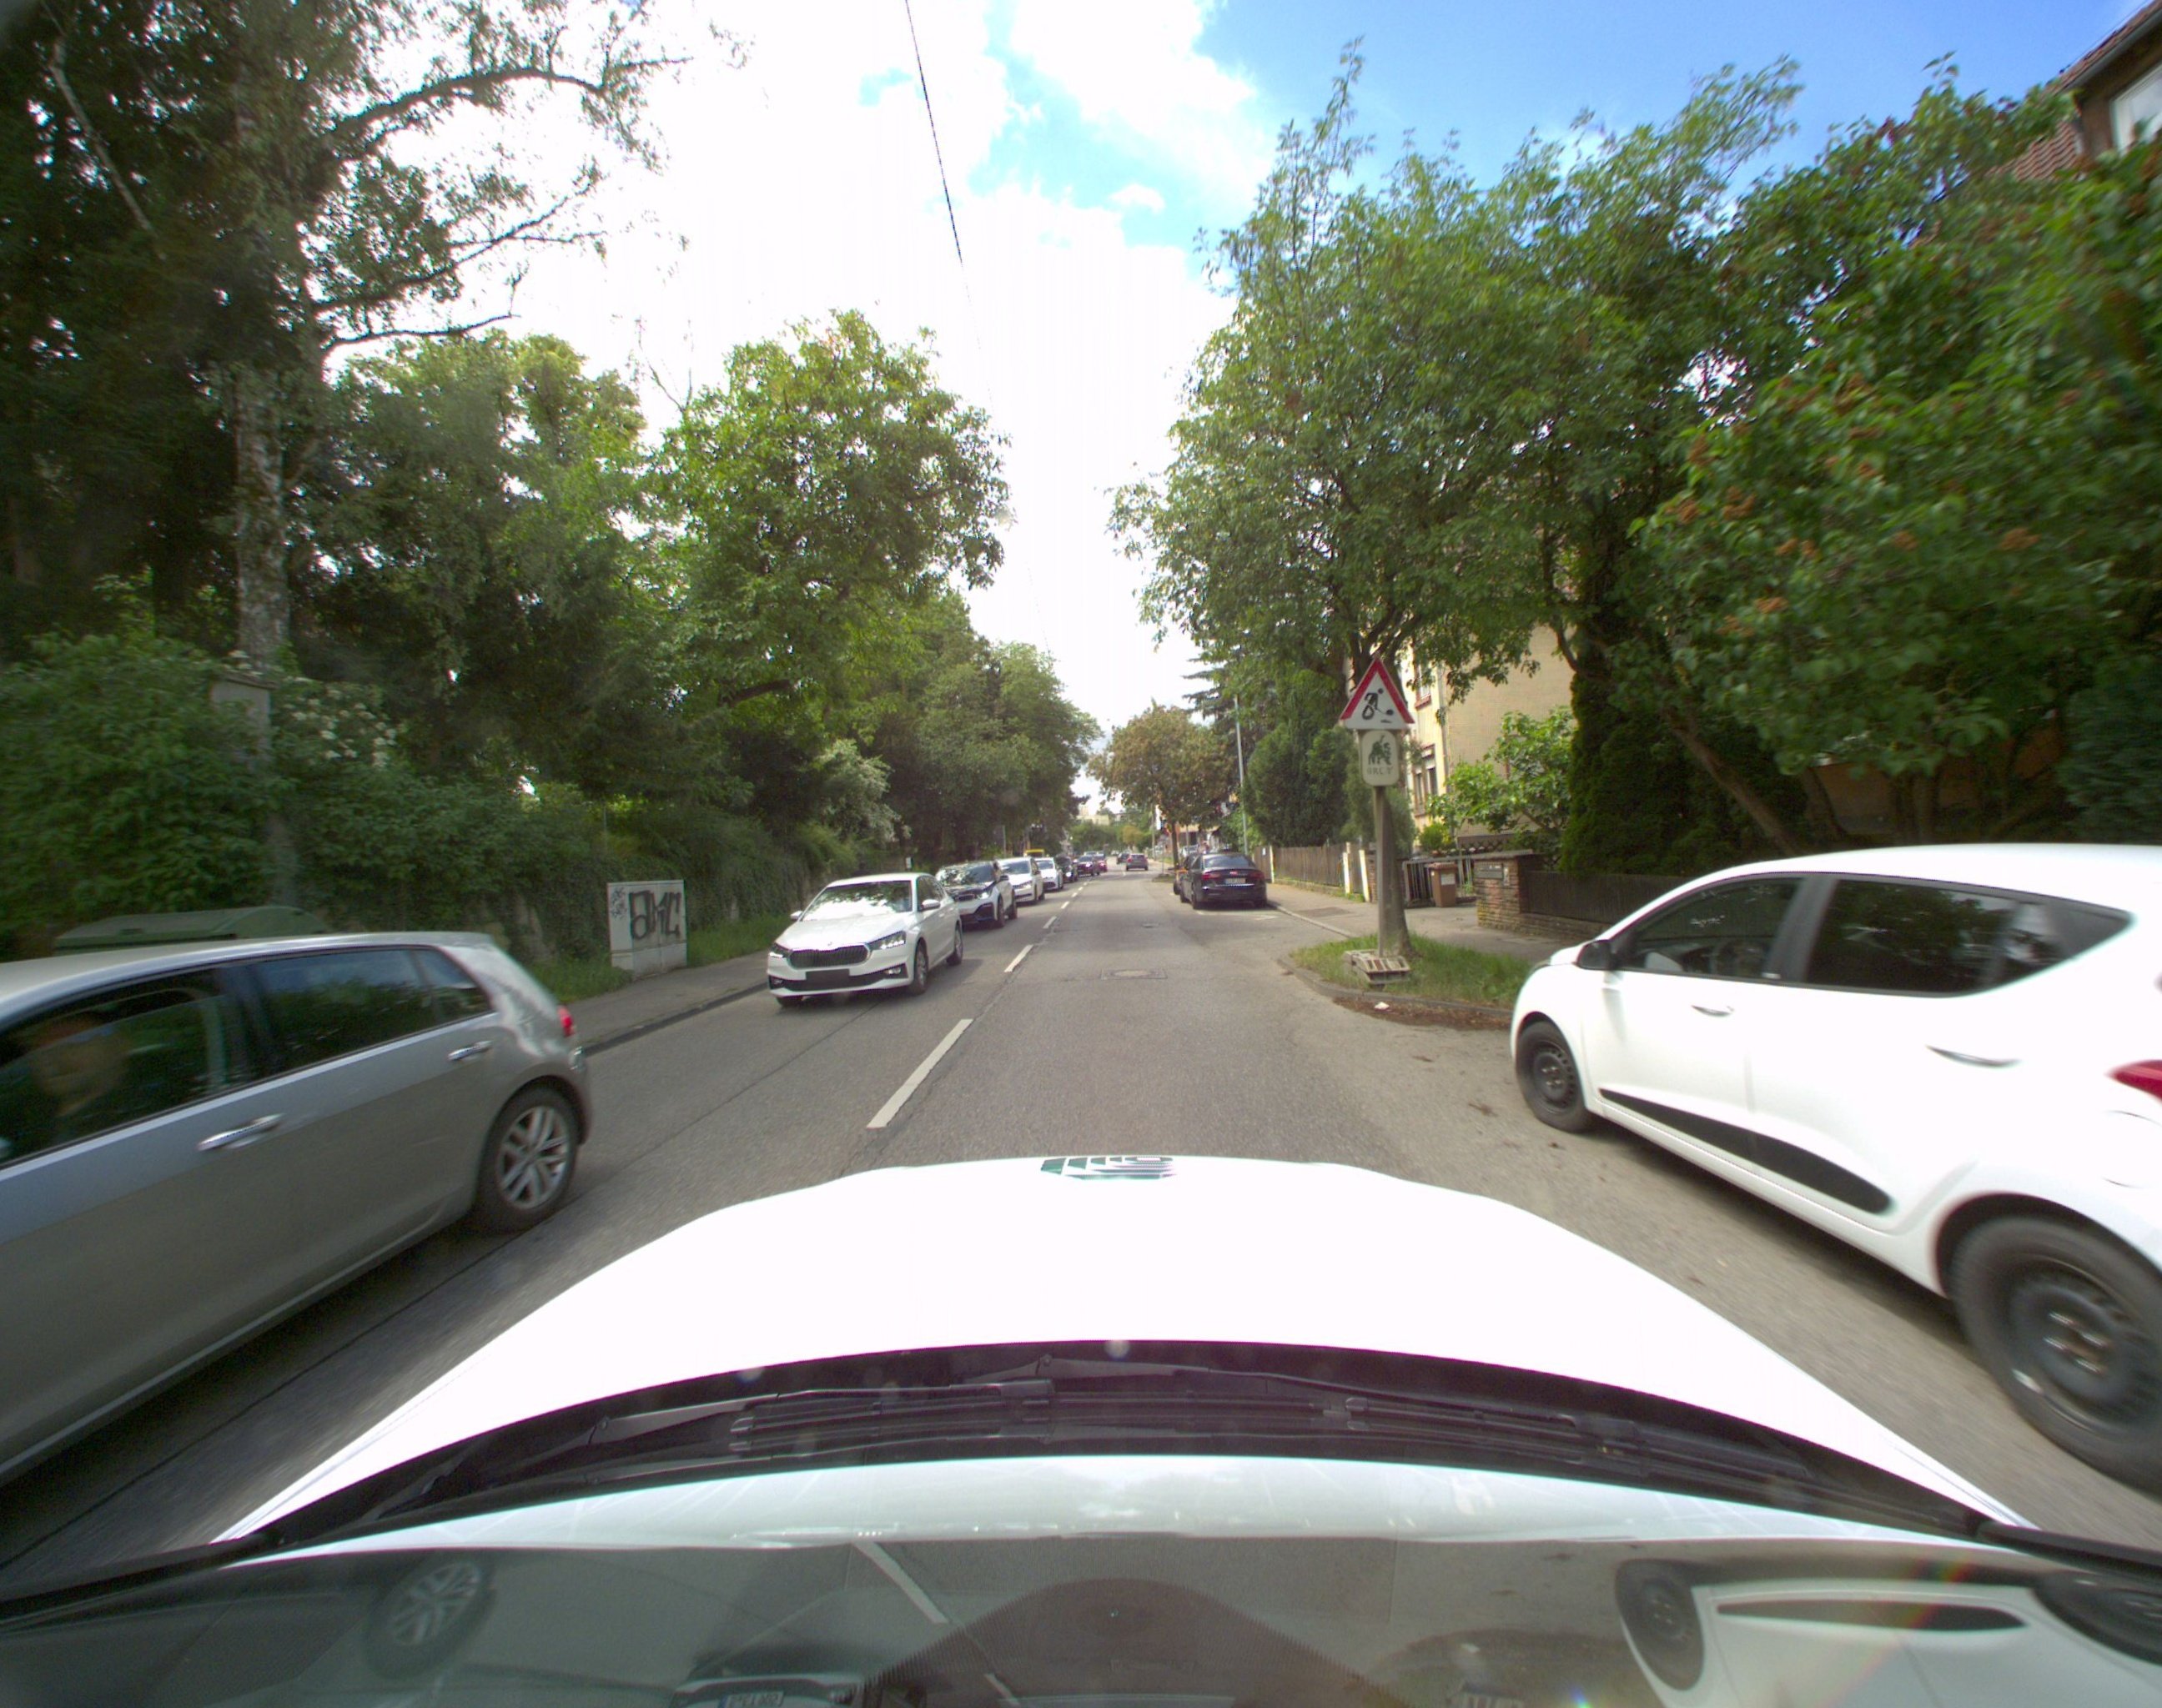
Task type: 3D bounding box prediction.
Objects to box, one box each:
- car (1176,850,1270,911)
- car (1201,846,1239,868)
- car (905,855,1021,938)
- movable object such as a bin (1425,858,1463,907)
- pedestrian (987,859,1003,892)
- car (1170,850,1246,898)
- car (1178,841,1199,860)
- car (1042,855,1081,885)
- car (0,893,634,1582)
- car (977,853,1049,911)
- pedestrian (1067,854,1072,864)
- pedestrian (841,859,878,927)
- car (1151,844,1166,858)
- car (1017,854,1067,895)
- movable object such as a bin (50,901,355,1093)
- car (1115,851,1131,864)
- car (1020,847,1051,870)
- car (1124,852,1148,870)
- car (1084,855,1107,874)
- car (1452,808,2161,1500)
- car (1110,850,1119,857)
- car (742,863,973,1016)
[{"bbox_3d":[3.754,0.637,22.397,1.795,1.445,4.887,-2,0,1],"label":"car"},{"bbox_3d":[9.071,0.187,53.614,1.718,1.316,4.266,-3,0,0],"label":"car"},{"bbox_3d":[-2.699,0.921,19.664,1.921,1.546,4.088,-7,0,2],"label":"car"},{"bbox_3d":[7.587,0.588,17.044,0.506,0.935,0.520,-5,2,1],"label":"movable object such as a bin"},{"bbox_3d":[-4.718,1.169,44.574,0.712,1.762,1.120,-3,-1,-3],"label":"pedestrian"},{"bbox_3d":[4.189,0.624,27.598,1.818,1.417,4.508,-2,0,0],"label":"car"},{"bbox_3d":[10.936,-0.385,83.000,1.775,1.634,3.698,-7,0,5],"label":"car"},{"bbox_3d":[-1.120,0.920,48.564,1.781,1.541,4.268,-5,0,4],"label":"car"},{"bbox_3d":[-3.347,1.012,2.186,1.703,1.455,4.288,-7,-1,1],"label":"car"},{"bbox_3d":[-2.231,0.873,28.016,1.779,1.648,4.493,-6,0,2],"label":"car"},{"bbox_3d":[-1.785,0.784,126.724,0.701,1.439,0.715,-3,-1,6],"label":"pedestrian"},{"bbox_3d":[-5.715,0.991,21.036,0.651,1.667,0.930,-3,-1,-3],"label":"pedestrian"},{"bbox_3d":[11.606,-0.449,122.109,1.985,2.013,4.004,-3,-1,4],"label":"car"},{"bbox_3d":[-1.715,0.875,37.115,1.778,1.591,4.156,-5,0,2],"label":"car"},{"bbox_3d":[-7.721,1.196,7.268,1.328,1.427,1.212,-3,-1,-5],"label":"movable object such as a bin"},{"bbox_3d":[5.392,0.460,103.967,1.810,1.501,4.267,-2,0,0],"label":"car"},{"bbox_3d":[-4.261,0.459,77.294,2.136,1.981,4.937,-3,-1,4],"label":"car"},{"bbox_3d":[4.669,0.578,68.892,1.967,1.513,4.272,0,0,4],"label":"car"},{"bbox_3d":[1.271,0.870,68.618,1.683,1.425,3.441,-3,-1,4],"label":"car"},{"bbox_3d":[3.231,0.635,3.443,1.616,1.507,3.780,-4,0,2],"label":"car"},{"bbox_3d":[8.295,-0.113,202.896,2.101,1.500,4.272,-4,0,4],"label":"car"},{"bbox_3d":[-2.713,0.964,10.886,1.753,1.439,3.972,-5,0,2],"label":"car"}]
